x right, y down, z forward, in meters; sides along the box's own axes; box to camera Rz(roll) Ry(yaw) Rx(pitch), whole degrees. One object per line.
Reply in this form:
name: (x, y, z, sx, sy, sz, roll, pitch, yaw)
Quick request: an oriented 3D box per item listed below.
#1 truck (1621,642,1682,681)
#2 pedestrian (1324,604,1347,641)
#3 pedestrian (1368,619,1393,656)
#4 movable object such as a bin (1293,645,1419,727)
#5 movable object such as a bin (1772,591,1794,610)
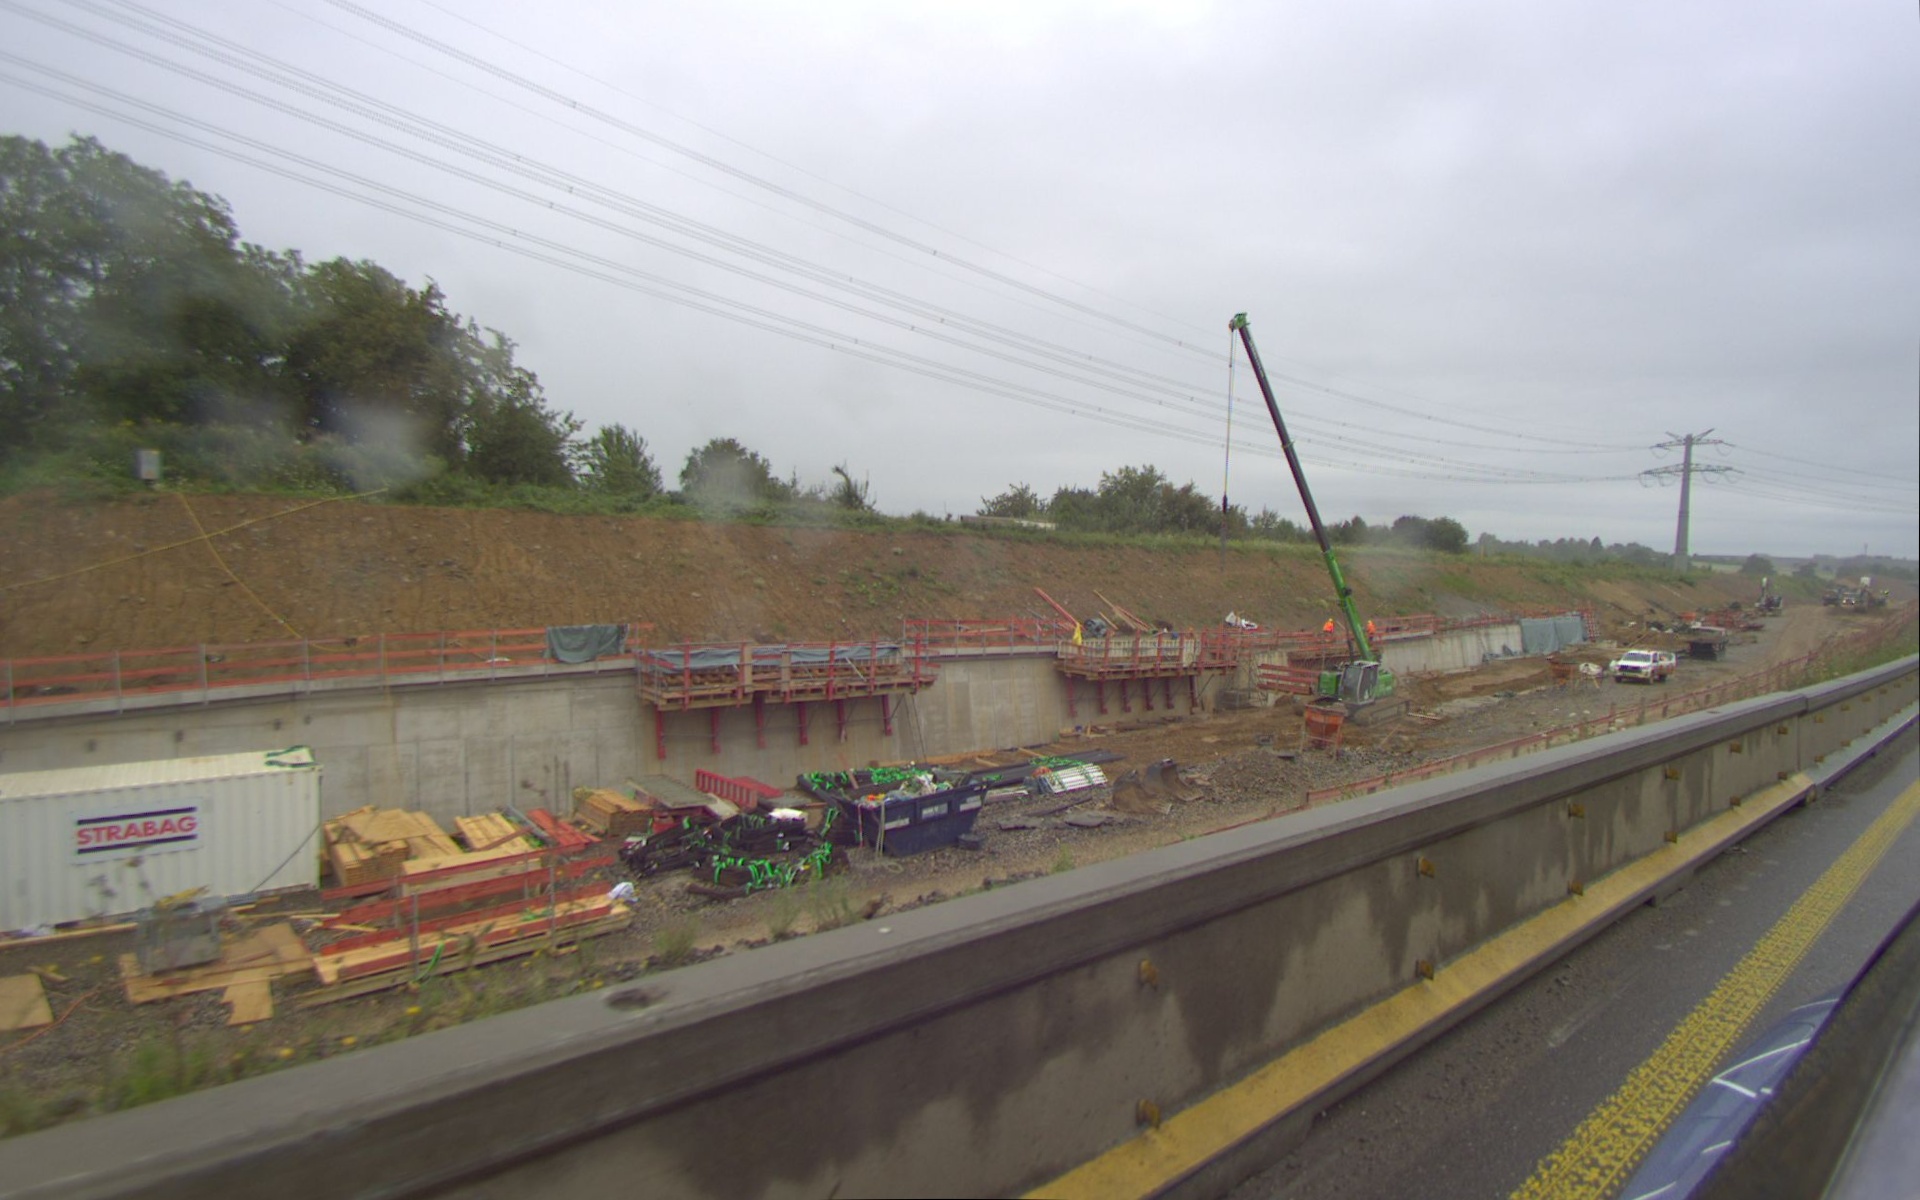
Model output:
truck: (41.125, 3.617, 60.111, 5.689, 1.894, 1.764, -1, 2, -43)
pedestrian: (23.857, 1.430, 64.300, 0.914, 2.275, 0.990, -7, -4, 43)
pedestrian: (26.880, 2.373, 64.710, 0.988, 2.260, 0.916, -2, -4, -39)
movable object such as a bin: (18.683, 3.934, 47.696, 4.779, 2.836, 3.796, -7, 6, -43)
movable object such as a bin: (123.863, 0.028, 152.214, 2.246, 2.753, 3.937, -1, 0, 44)
